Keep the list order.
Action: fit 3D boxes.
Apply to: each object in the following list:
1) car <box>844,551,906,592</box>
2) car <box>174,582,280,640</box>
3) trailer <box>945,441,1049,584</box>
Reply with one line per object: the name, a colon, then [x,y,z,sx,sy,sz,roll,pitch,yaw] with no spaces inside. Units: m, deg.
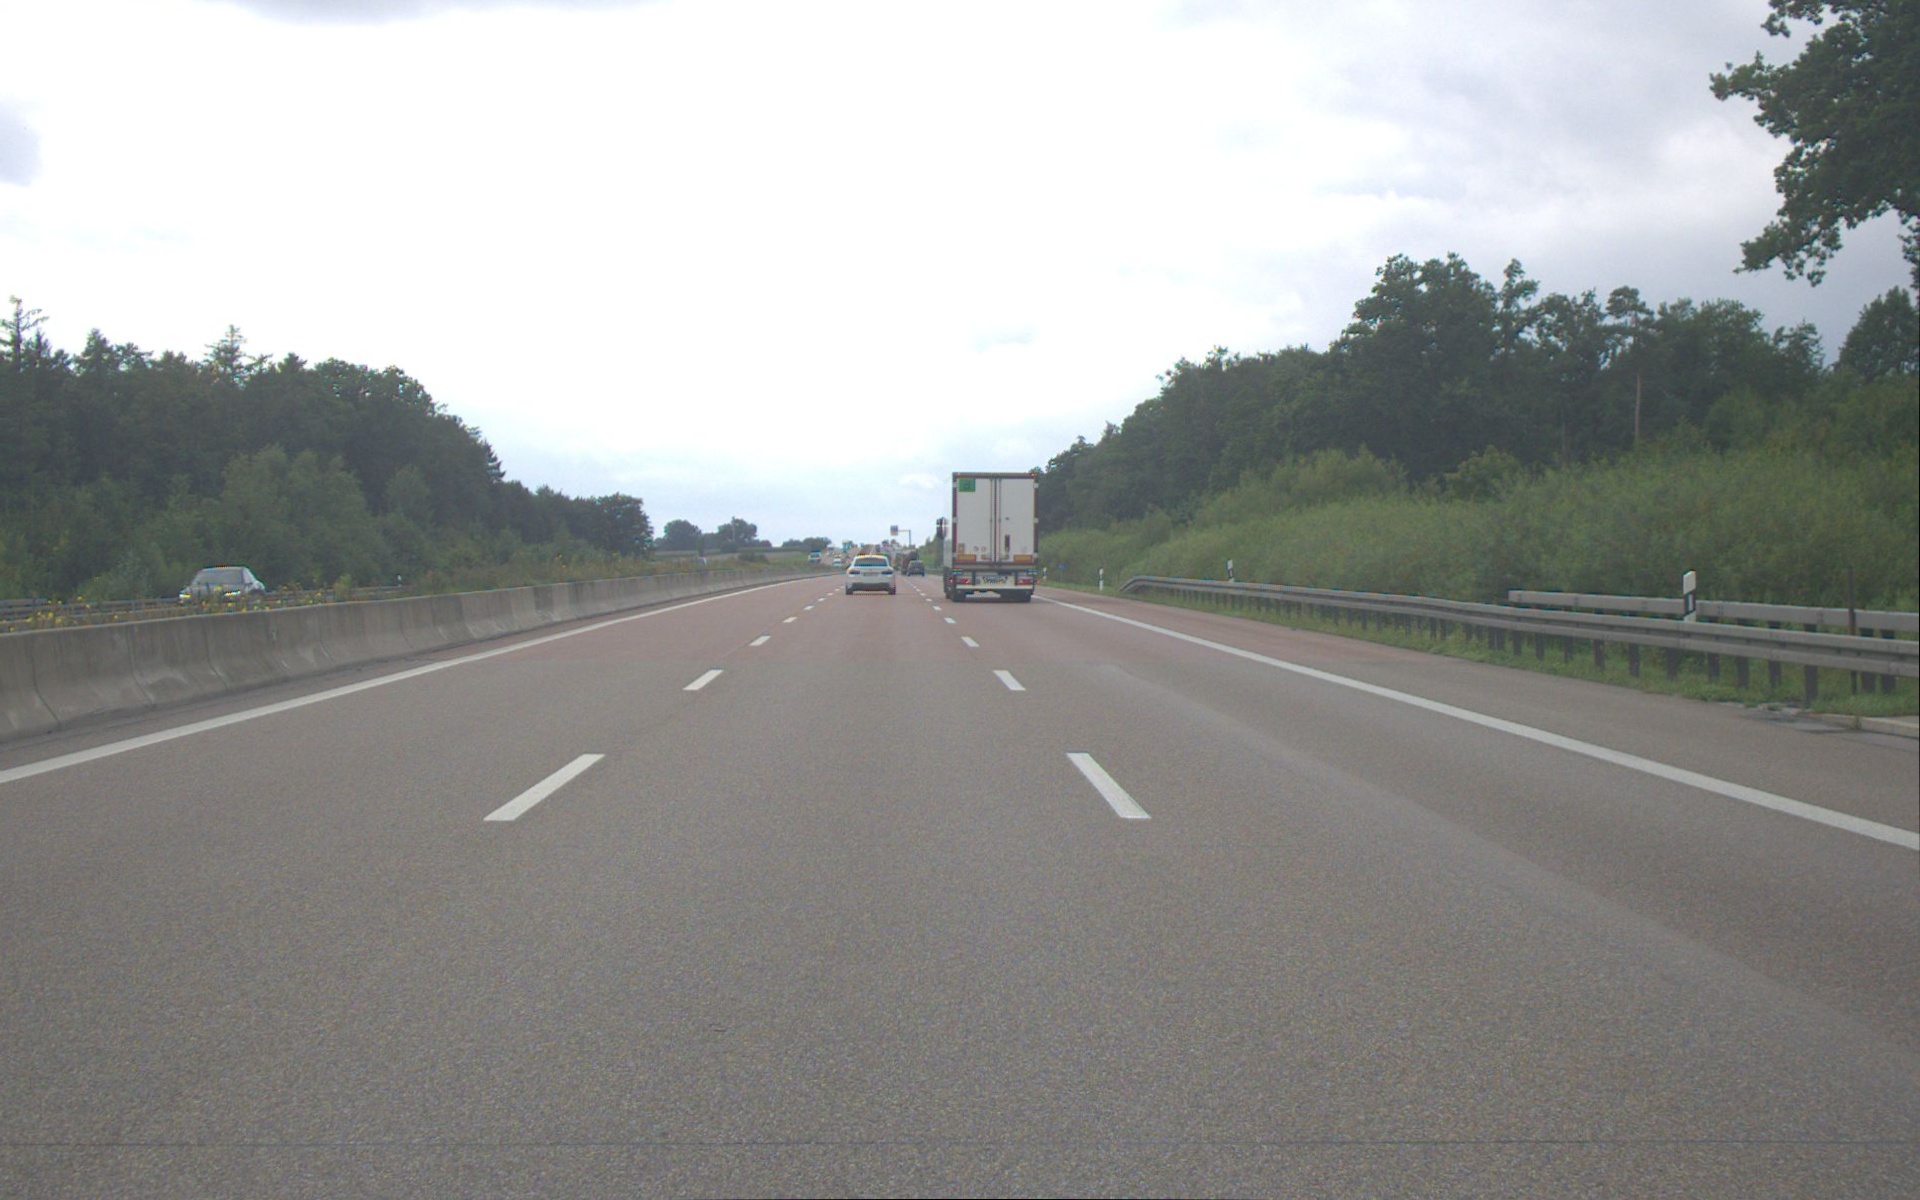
car: [-3.159,-1.075,129.027,2.163,1.446,4.719,1,1,0]
car: [-21.525,0.302,101.158,2.124,1.585,5.198,-1,1,-2]
trailer: [1.079,-2.693,110.134,2.921,4.279,13.614,0,1,-1]
